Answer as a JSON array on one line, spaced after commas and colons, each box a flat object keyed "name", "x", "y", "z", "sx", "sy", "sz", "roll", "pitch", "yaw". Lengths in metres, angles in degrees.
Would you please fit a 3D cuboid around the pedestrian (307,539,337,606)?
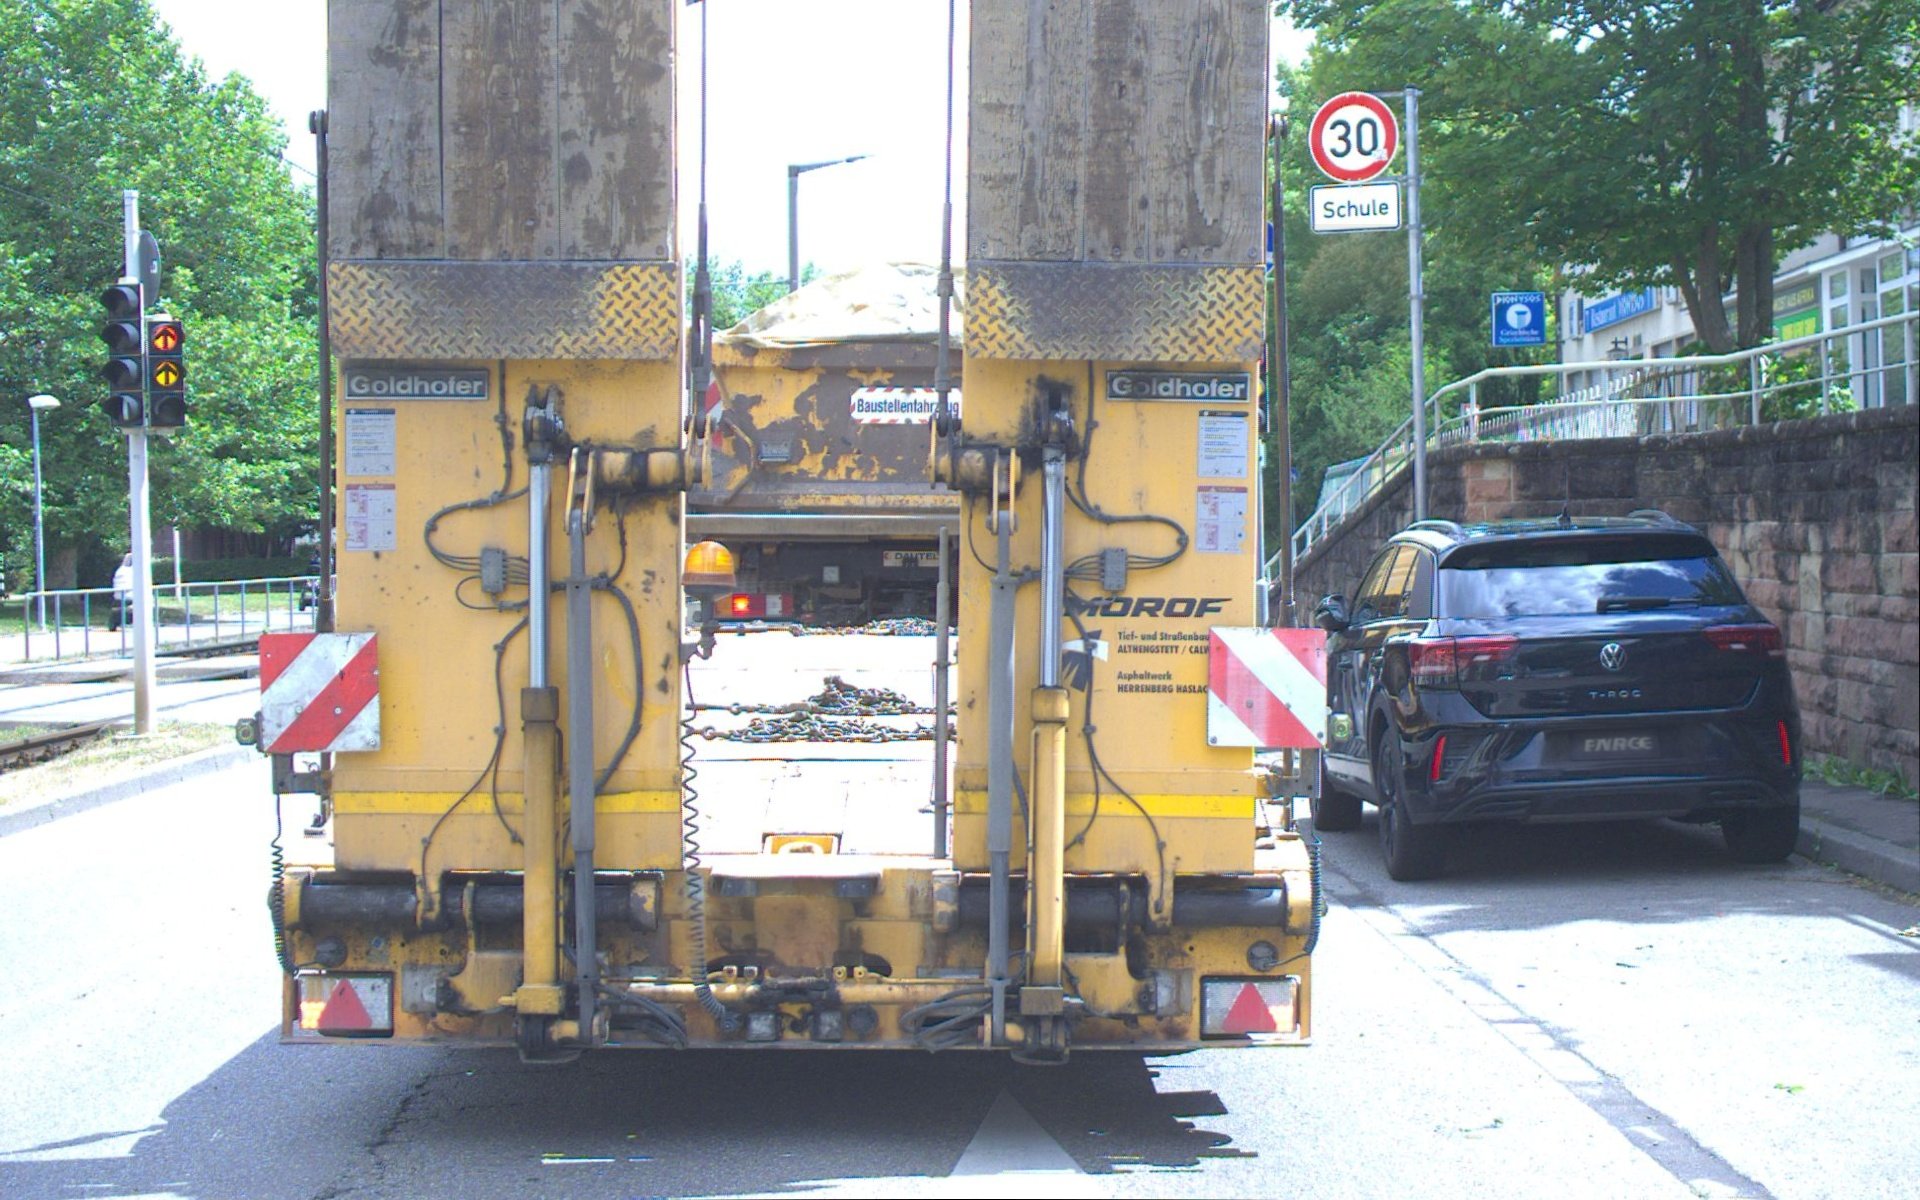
[{"name": "pedestrian", "x": -14.594, "y": -0.631, "z": 78.629, "sx": 0.563, "sy": 1.508, "sz": 0.646, "roll": 1, "pitch": 1, "yaw": -1}]

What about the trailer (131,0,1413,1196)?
[{"name": "trailer", "x": -0.417, "y": -0.505, "z": 12.345, "sx": 2.945, "sy": 3.589, "sz": 8.684, "roll": -1, "pitch": 1, "yaw": 0}]

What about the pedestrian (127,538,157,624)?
[{"name": "pedestrian", "x": -14.734, "y": -0.351, "z": 61.915, "sx": 0.348, "sy": 1.531, "sz": 0.557, "roll": -1, "pitch": 1, "yaw": 3}]

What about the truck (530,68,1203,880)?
[{"name": "truck", "x": -0.403, "y": -0.600, "z": 17.604, "sx": 2.942, "sy": 3.560, "sz": 4.877, "roll": 0, "pitch": 1, "yaw": 0}]

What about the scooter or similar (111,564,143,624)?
[{"name": "scooter or similar", "x": -14.841, "y": -0.110, "z": 61.242, "sx": 0.338, "sy": 1.054, "sz": 0.687, "roll": -1, "pitch": 2, "yaw": 4}]

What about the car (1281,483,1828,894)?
[{"name": "car", "x": 2.647, "y": 0.330, "z": 16.219, "sx": 1.851, "sy": 1.633, "sz": 4.000, "roll": -2, "pitch": 1, "yaw": 0}]

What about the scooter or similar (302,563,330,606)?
[{"name": "scooter or similar", "x": -14.613, "y": -0.357, "z": 77.980, "sx": 0.505, "sy": 0.968, "sz": 0.646, "roll": 1, "pitch": 1, "yaw": -1}]
